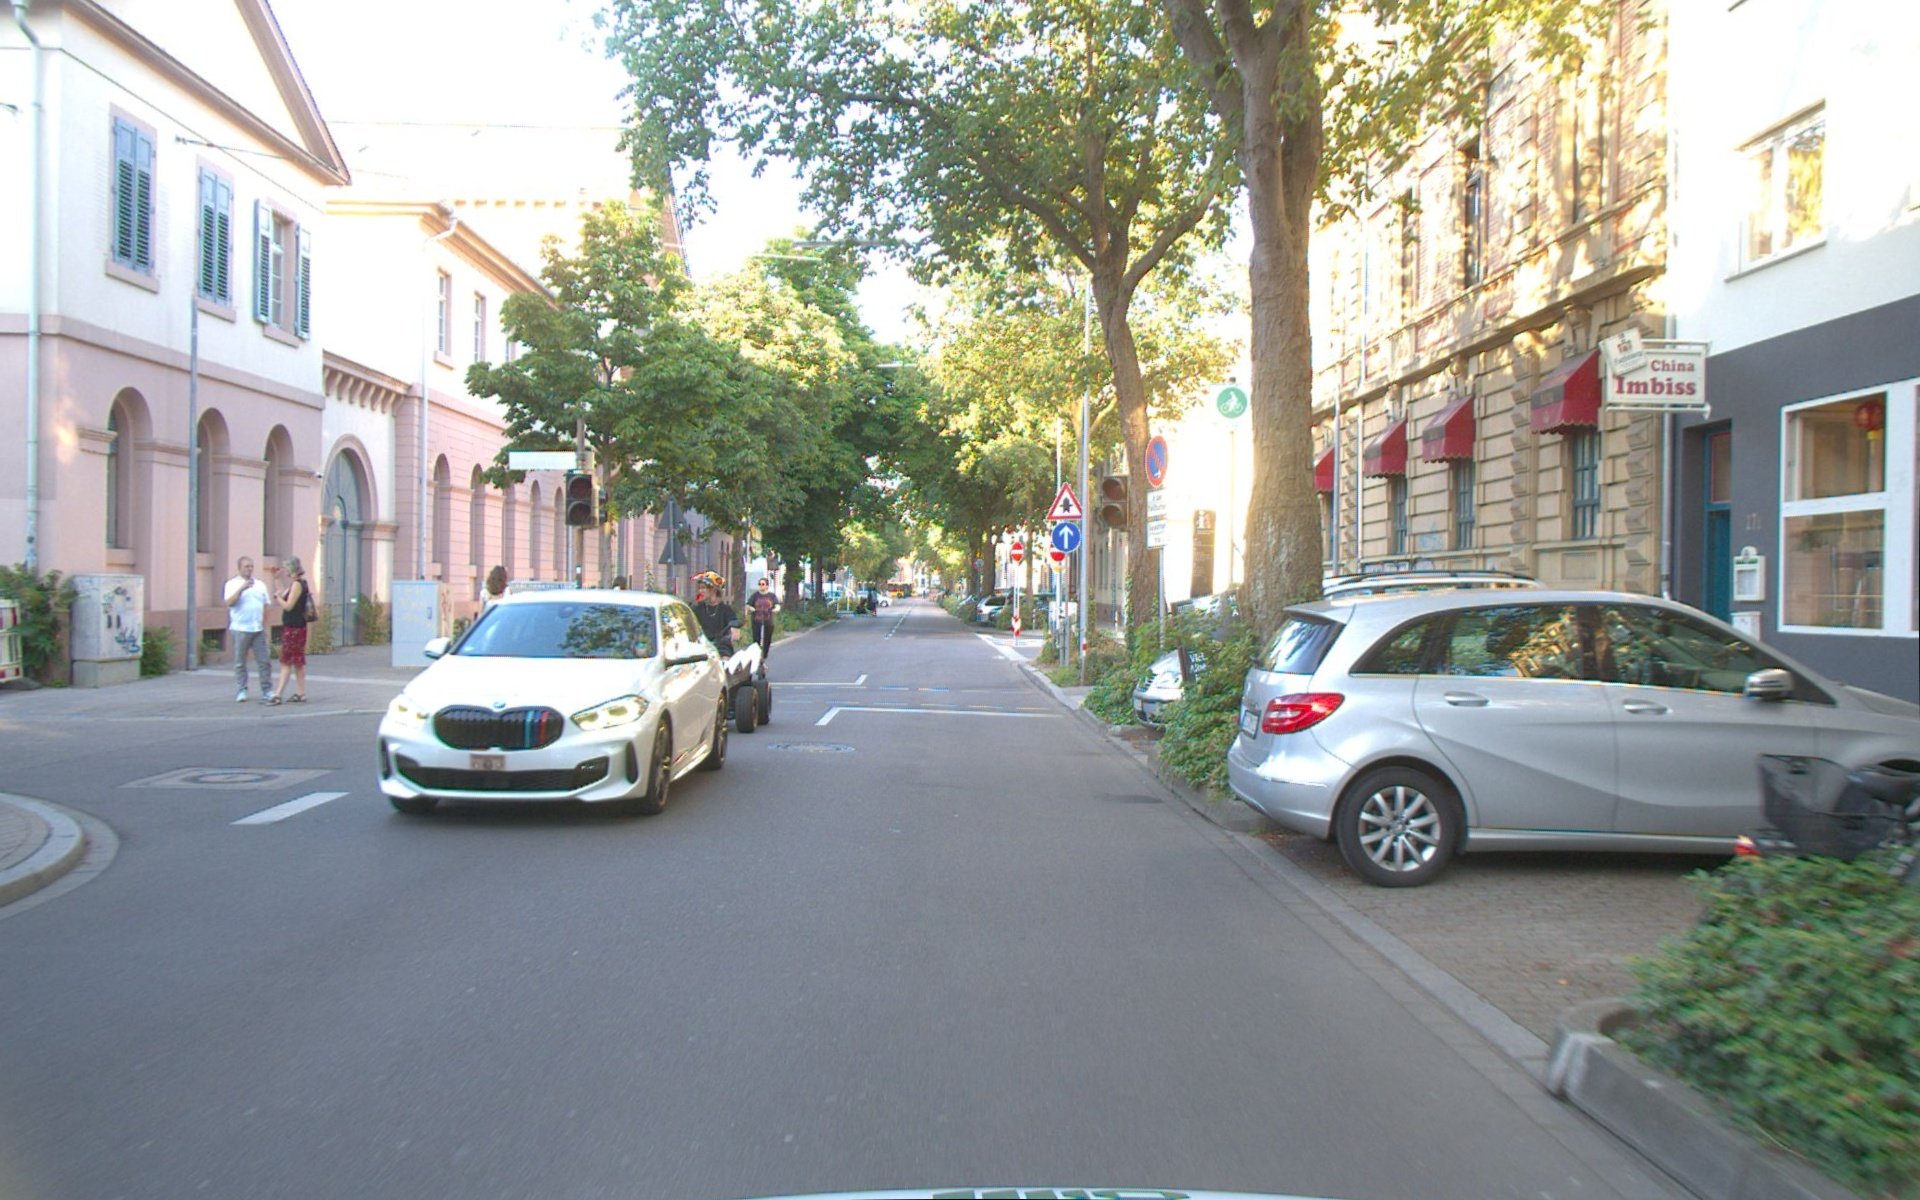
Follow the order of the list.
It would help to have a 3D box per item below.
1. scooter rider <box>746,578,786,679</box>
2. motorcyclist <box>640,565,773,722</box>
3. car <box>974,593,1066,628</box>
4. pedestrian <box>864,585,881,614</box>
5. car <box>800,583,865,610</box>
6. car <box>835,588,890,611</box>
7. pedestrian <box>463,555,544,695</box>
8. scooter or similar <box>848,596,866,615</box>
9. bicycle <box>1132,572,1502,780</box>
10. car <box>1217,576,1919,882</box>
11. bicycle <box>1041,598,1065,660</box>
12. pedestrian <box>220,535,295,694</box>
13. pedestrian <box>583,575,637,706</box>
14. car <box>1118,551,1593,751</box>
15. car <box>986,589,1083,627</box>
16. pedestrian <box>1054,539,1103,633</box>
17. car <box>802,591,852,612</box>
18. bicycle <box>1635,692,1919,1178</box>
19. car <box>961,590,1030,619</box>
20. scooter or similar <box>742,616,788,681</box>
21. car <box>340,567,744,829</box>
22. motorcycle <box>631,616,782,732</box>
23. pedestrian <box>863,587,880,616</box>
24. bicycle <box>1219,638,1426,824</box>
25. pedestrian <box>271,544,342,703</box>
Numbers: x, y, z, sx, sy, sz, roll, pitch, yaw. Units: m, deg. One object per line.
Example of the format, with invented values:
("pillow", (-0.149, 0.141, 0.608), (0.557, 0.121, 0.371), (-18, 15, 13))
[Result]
("scooter rider", (-3.532, 0.511, 30.122), (0.484, 1.823, 0.875), (0, 0, 9))
("motorcyclist", (-2.694, 0.450, 17.735), (1.254, 1.619, 1.077), (1, 0, -1))
("car", (2.727, 0.463, 75.770), (4.107, 1.506, 1.852), (-1, 0, -2))
("pedestrian", (-5.148, -0.015, 97.614), (0.856, 1.679, 0.655), (1, 0, 6))
("car", (-9.927, -0.263, 129.350), (4.962, 2.119, 2.262), (0, 0, -2))
("car", (-9.129, -0.071, 154.823), (4.960, 2.119, 2.263), (0, 0, 0))
("pedestrian", (-6.207, 0.330, 22.519), (0.774, 1.822, 0.771), (3, 1, 1))
("scooter or similar", (-6.067, 0.324, 97.691), (0.877, 1.108, 0.846), (1, 0, 8))
("bicycle", (3.074, 0.648, 14.325), (3.053, 1.692, 0.657), (1, 0, -6))
("car", (3.684, 0.655, 9.592), (4.137, 1.587, 1.971), (0, 1, 2))
("bicycle", (2.161, 0.654, 38.340), (0.407, 1.396, 1.289), (0, 0, 10))
("pedestrian", (-8.536, 0.170, 20.118), (0.542, 1.883, 0.612), (1, 0, 13))
("pedestrian", (-5.208, 0.592, 24.622), (0.755, 1.921, 0.790), (1, 0, -13))
("car", (4.000, 0.485, 17.213), (4.450, 1.948, 1.949), (0, 0, -4))
("car", (3.170, 0.339, 70.916), (4.025, 1.516, 1.849), (1, 1, -3))
("pedestrian", (2.824, -0.321, 39.401), (1.022, 2.184, 1.063), (2, -1, -1))
("car", (-9.971, 0.094, 123.954), (3.653, 1.534, 1.871), (0, 0, -5))
("bicycle", (3.015, 0.897, 4.868), (1.985, 1.225, 0.487), (-1, 0, -14))
("car", (2.085, 0.257, 96.693), (3.934, 1.651, 1.780), (0, 0, -3))
("scooter or similar", (-3.539, 0.874, 30.113), (0.491, 1.165, 1.251), (0, -1, 9))
("car", (-2.790, 0.573, 12.083), (1.838, 1.576, 4.275), (0, 0, 0))
("motorcycle", (-2.674, 0.753, 17.784), (1.285, 1.109, 2.396), (1, 0, -1))
("pedestrian", (-5.191, 0.083, 96.831), (0.856, 1.679, 0.655), (1, 0, 6))
("bicycle", (2.484, 0.886, 11.393), (1.310, 1.225, 0.488), (0, 0, -2))
("pedestrian", (-7.905, 0.273, 20.032), (0.542, 1.882, 0.612), (1, 2, 13))
